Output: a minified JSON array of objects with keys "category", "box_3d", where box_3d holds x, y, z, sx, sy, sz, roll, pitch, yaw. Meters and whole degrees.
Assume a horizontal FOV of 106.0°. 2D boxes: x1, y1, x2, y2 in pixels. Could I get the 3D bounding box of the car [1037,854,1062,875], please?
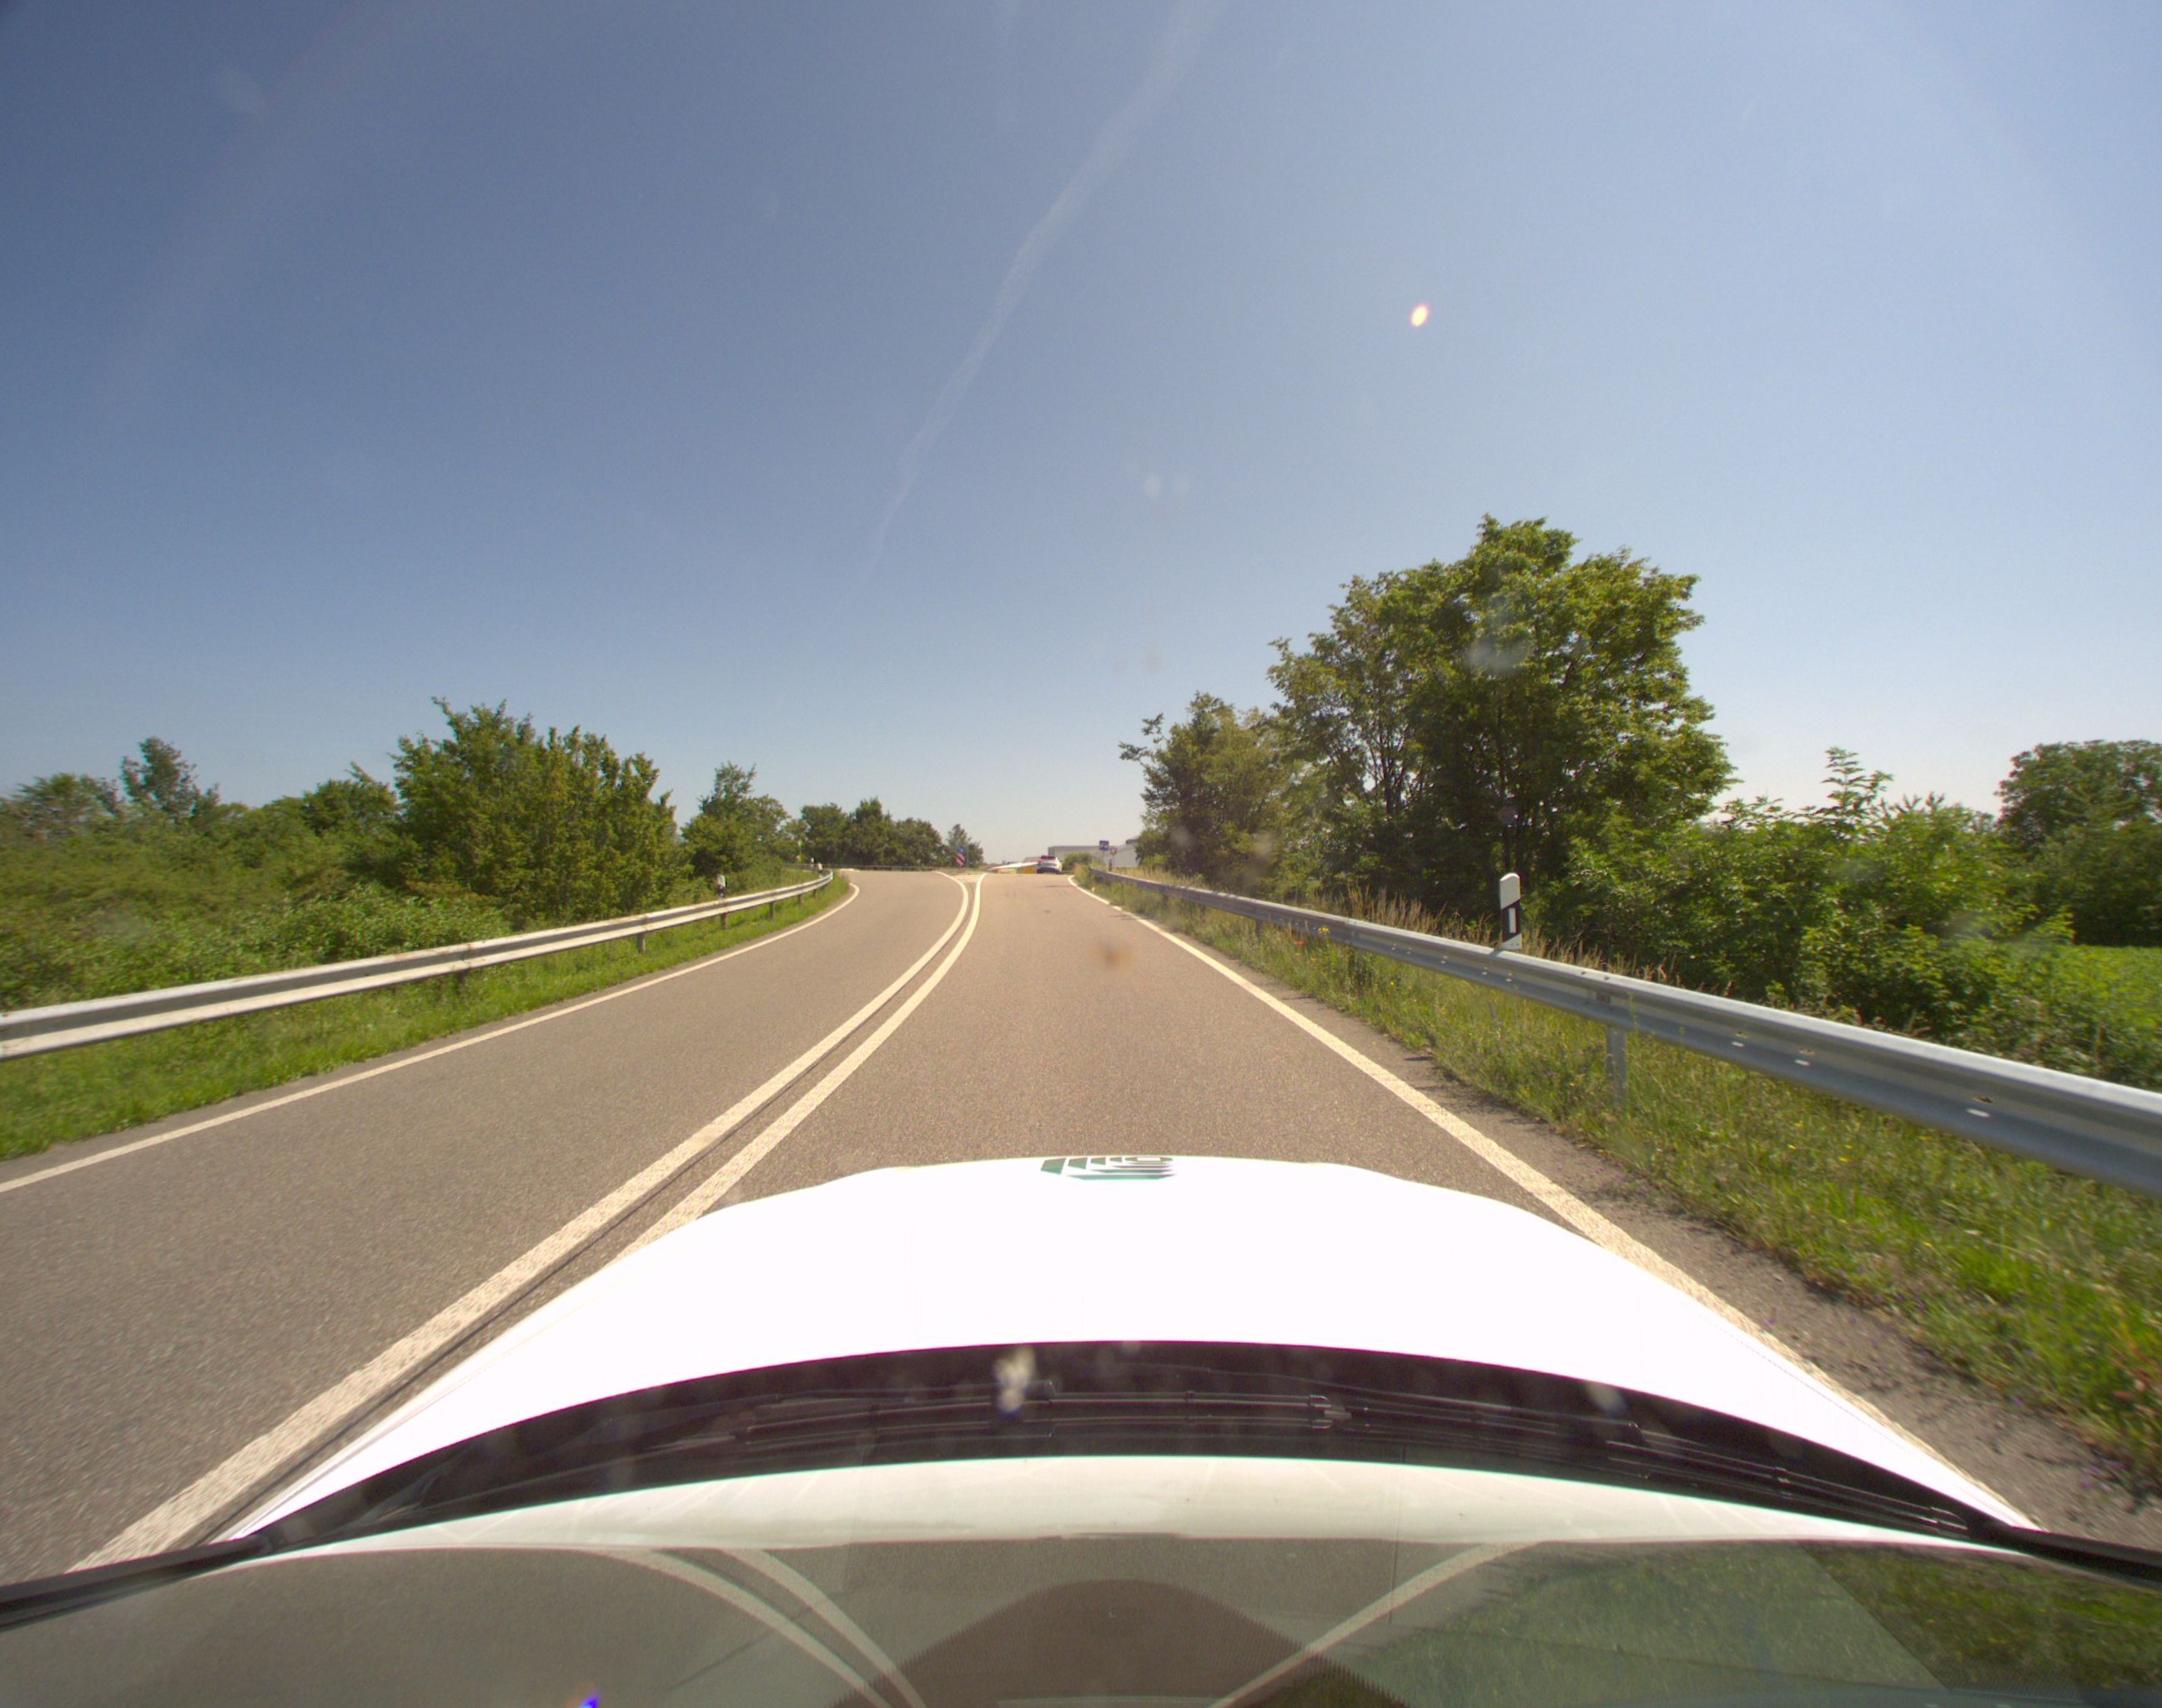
[{"category":"car","box_3d":[-2.502,0.857,66.145,1.802,1.691,4.000,0,-1,0]}]
